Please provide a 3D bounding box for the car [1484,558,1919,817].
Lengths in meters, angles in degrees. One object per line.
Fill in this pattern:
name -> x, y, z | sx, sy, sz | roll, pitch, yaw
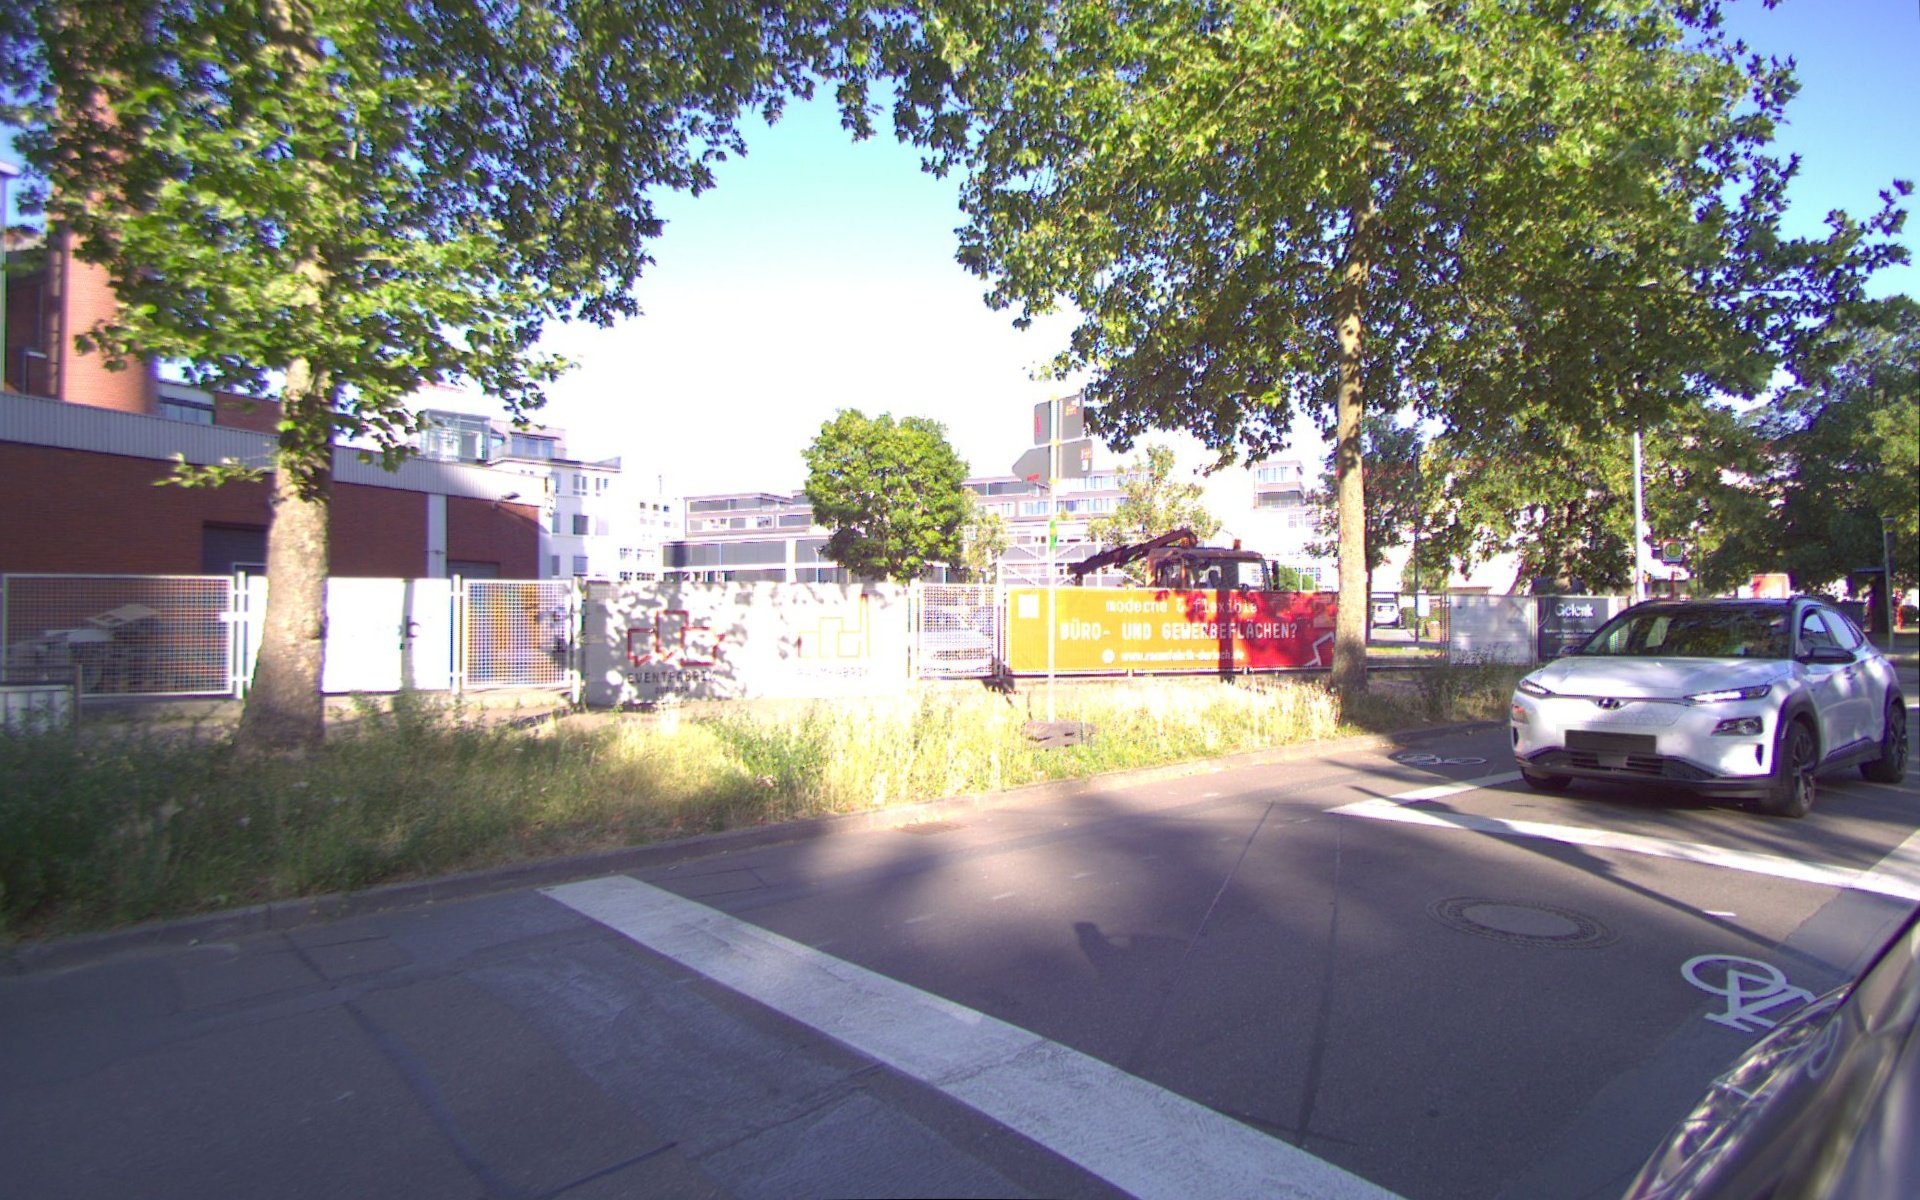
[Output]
car -> 6.227, 0.627, 8.267 | 3.890, 1.618, 1.895 | 2, -3, -36

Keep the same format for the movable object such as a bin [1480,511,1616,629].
movable object such as a bin -> 29.774, -1.398, 51.639 | 3.914, 5.548, 6.015 | -1, -1, 10

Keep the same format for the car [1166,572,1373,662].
car -> 6.994, 0.371, 23.432 | 2.000, 1.851, 4.613 | -1, -1, -24

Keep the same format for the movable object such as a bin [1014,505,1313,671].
movable object such as a bin -> 4.194, -0.194, 22.364 | 3.152, 3.088, 6.297 | -1, -1, -28
